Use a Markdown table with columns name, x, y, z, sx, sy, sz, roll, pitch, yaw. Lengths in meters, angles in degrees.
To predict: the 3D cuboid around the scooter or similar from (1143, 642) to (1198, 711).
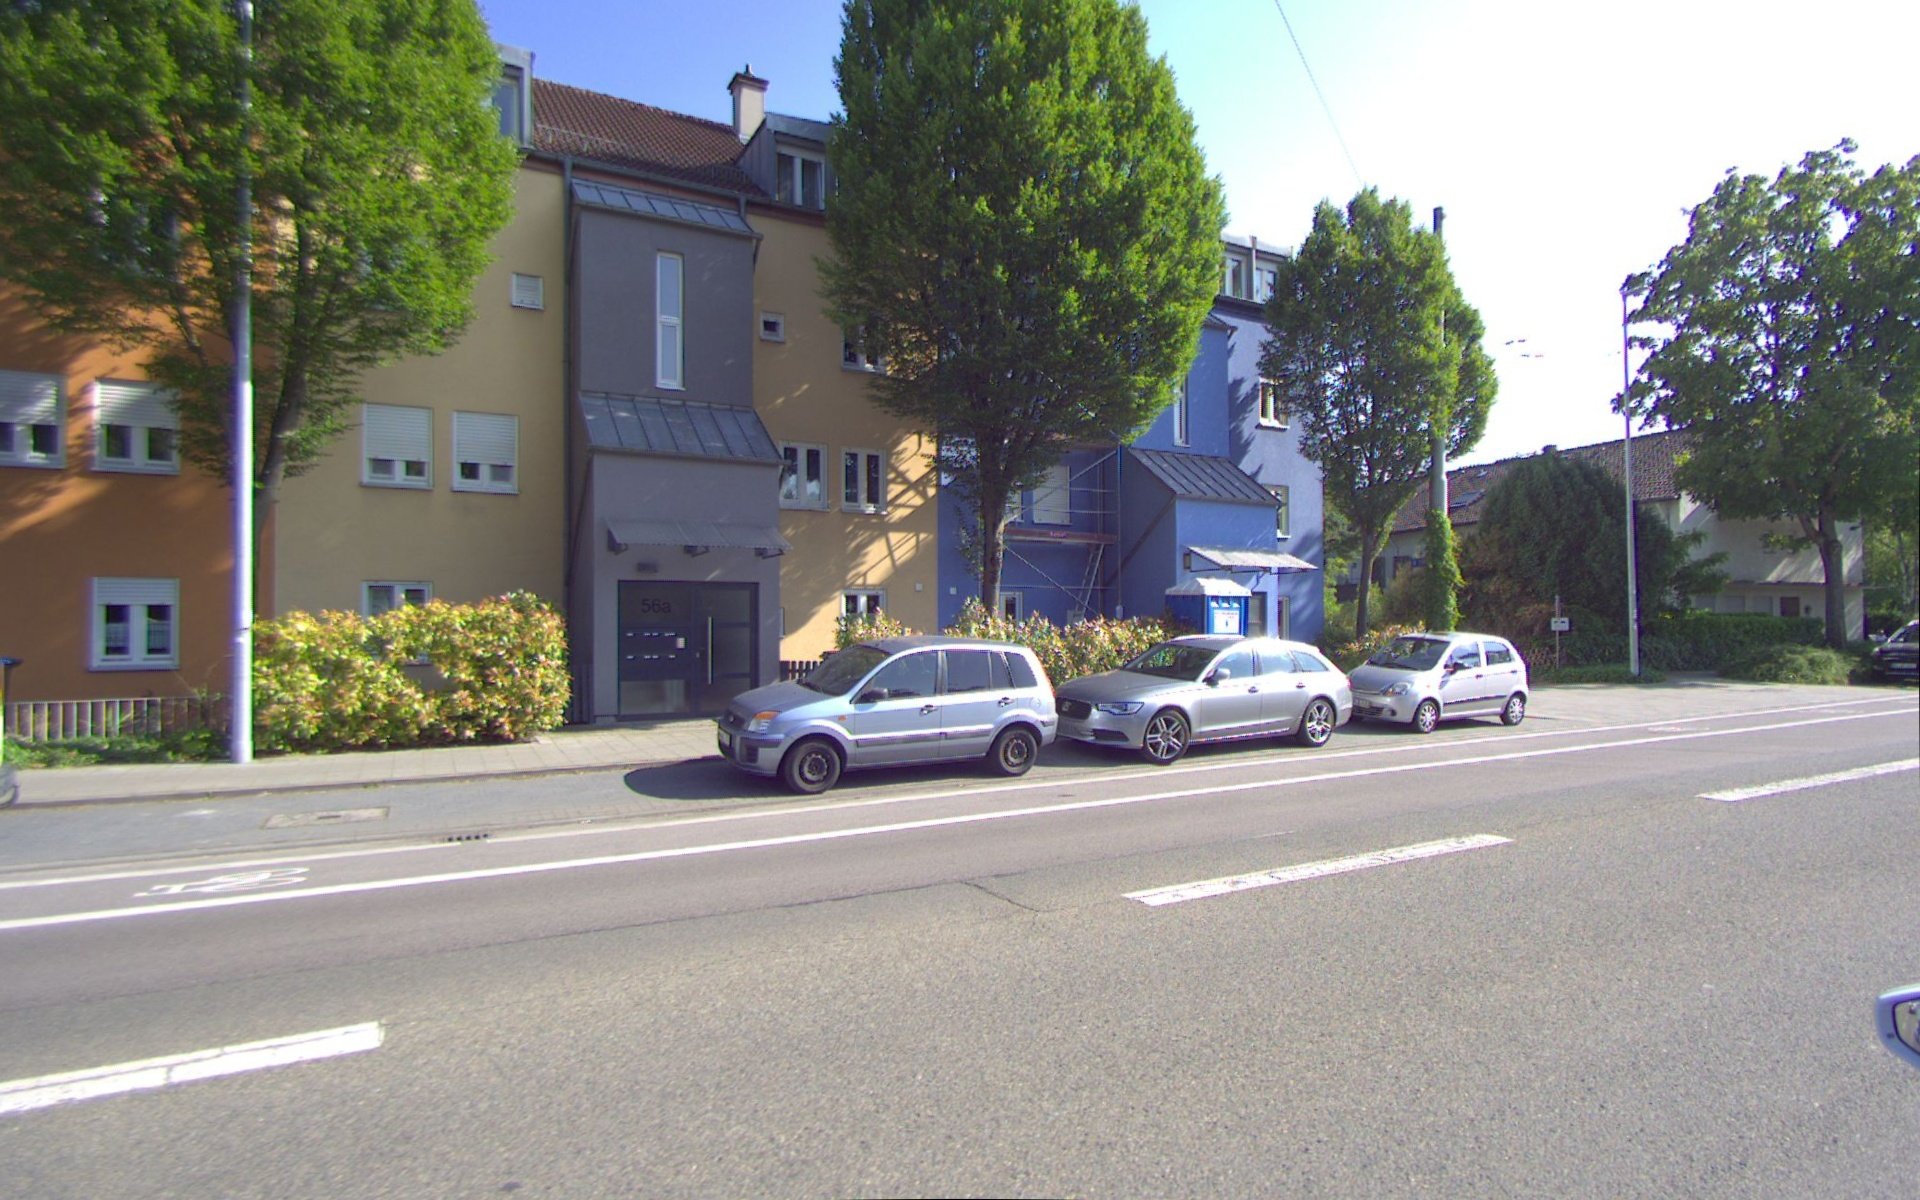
| name | x | y | z | sx | sy | sz | roll | pitch | yaw |
| --- | --- | --- | --- | --- | --- | --- | --- | --- | --- |
| scooter or similar | 3.688 | 1.320 | 17.592 | 1.032 | 1.169 | 0.292 | 0 | -2 | -34 |

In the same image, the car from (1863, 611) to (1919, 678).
| name | x | y | z | sx | sy | sz | roll | pitch | yaw |
| --- | --- | --- | --- | --- | --- | --- | --- | --- | --- |
| car | 26.427 | 1.167 | 27.094 | 4.367 | 1.716 | 1.705 | 0 | -2 | -29 |

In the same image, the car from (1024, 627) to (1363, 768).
| name | x | y | z | sx | sy | sz | roll | pitch | yaw |
| --- | --- | --- | --- | --- | --- | --- | --- | --- | --- |
| car | 3.320 | 1.214 | 13.934 | 4.702 | 1.531 | 1.739 | 0 | 2 | -32 |

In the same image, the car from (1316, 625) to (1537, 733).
| name | x | y | z | sx | sy | sz | roll | pitch | yaw |
| --- | --- | --- | --- | --- | --- | --- | --- | --- | --- |
| car | 7.784 | 1.228 | 16.730 | 3.467 | 1.515 | 1.593 | 0 | 2 | -30 |

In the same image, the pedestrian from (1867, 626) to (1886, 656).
| name | x | y | z | sx | sy | sz | roll | pitch | yaw |
| --- | --- | --- | --- | --- | --- | --- | --- | --- | --- |
| pedestrian | 38.477 | 1.712 | 42.184 | 0.385 | 1.233 | 0.444 | 0 | -2 | -21 |

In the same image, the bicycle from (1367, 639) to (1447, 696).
| name | x | y | z | sx | sy | sz | roll | pitch | yaw |
| --- | --- | --- | --- | --- | --- | --- | --- | --- | --- |
| bicycle | 9.451 | 1.413 | 21.217 | 1.759 | 1.169 | 0.442 | 1 | -2 | -23 |

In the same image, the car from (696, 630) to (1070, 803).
| name | x | y | z | sx | sy | sz | roll | pitch | yaw |
| --- | --- | --- | --- | --- | --- | --- | --- | --- | --- |
| car | -0.860 | 1.196 | 11.589 | 3.932 | 1.560 | 1.755 | 1 | 3 | -29 |

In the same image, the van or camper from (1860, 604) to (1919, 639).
| name | x | y | z | sx | sy | sz | roll | pitch | yaw |
| --- | --- | --- | --- | --- | --- | --- | --- | --- | --- |
| van or camper | 81.003 | 1.856 | 85.230 | 2.278 | 2.906 | 6.440 | 0 | -2 | -27 |

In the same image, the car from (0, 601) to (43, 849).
| name | x | y | z | sx | sy | sz | roll | pitch | yaw |
| --- | --- | --- | --- | --- | --- | --- | --- | --- | --- |
| car | -9.501 | 0.971 | 6.827 | 4.527 | 1.871 | 1.753 | 0 | 3 | -31 |
